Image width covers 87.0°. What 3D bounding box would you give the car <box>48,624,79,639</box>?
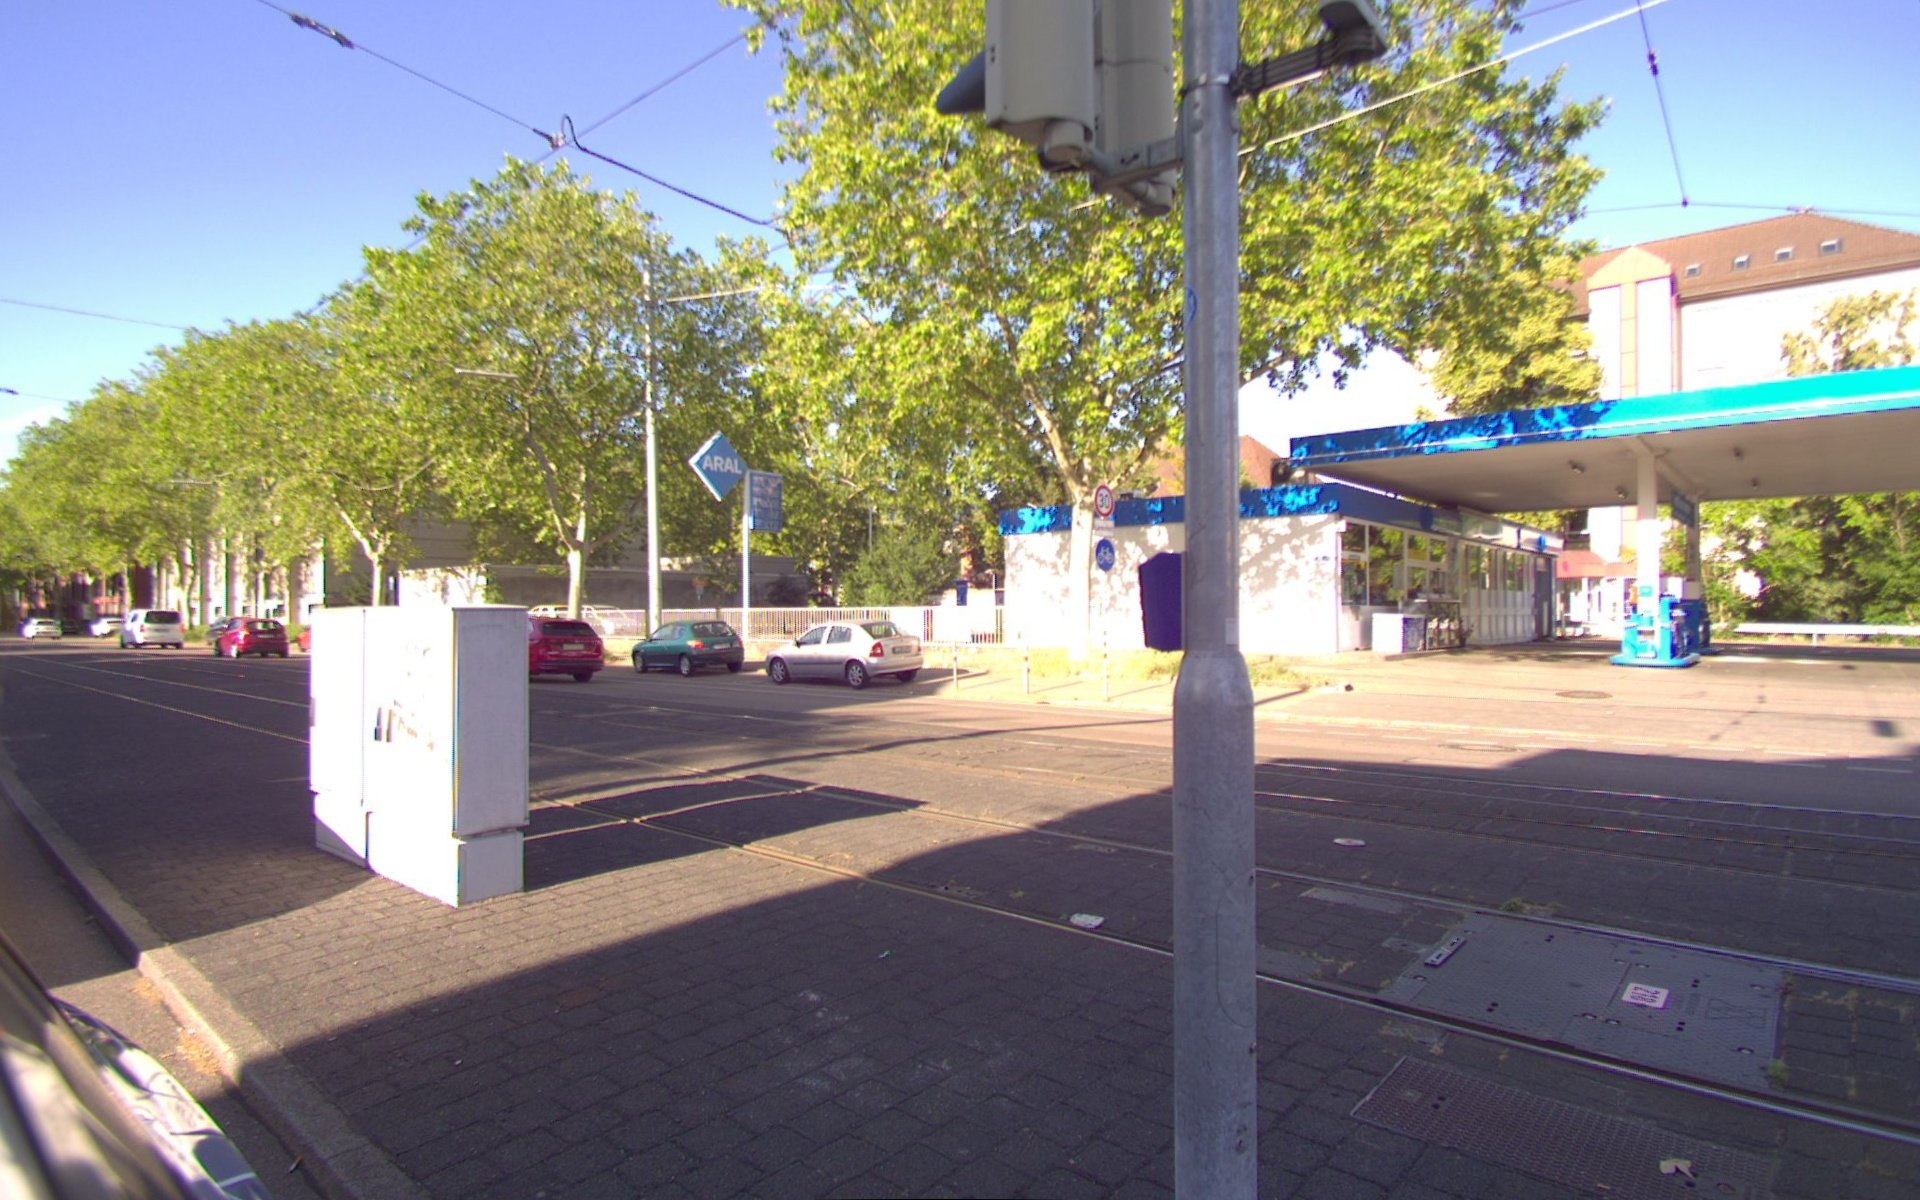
[{"bbox_3d":[-85.179,2.991,96.167,3.998,1.420,1.678,-1,-2,41],"label":"car"}]

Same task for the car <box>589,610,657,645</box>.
[{"bbox_3d":[-14.621,1.166,43.850,3.151,1.431,1.525,-1,0,44],"label":"car"}]

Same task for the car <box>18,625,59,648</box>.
[{"bbox_3d":[-66.578,2.621,73.085,3.998,1.507,1.741,-1,0,41],"label":"car"}]

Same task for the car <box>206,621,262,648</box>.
[{"bbox_3d":[-40.598,1.900,56.577,3.998,1.420,1.678,-1,-2,41],"label":"car"}]

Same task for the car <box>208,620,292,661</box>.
[{"bbox_3d":[-26.364,1.460,37.525,3.998,1.431,1.678,-1,-1,41],"label":"car"}]

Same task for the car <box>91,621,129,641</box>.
[{"bbox_3d":[-66.809,2.430,79.549,3.998,1.569,1.678,-1,-2,41],"label":"car"}]

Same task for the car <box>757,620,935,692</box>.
[{"bbox_3d":[-2.614,1.181,22.633,3.998,1.431,1.709,-1,0,41],"label":"car"}]

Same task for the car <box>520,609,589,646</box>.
[{"bbox_3d":[-16.854,1.106,41.996,3.151,1.431,1.525,-1,0,44],"label":"car"}]

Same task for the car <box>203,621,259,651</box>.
[{"bbox_3d":[-40.733,1.993,56.536,3.998,1.587,1.678,-1,-2,41],"label":"car"}]

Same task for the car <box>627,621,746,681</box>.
[{"bbox_3d":[-7.280,1.309,26.826,3.253,1.431,1.526,-1,0,41],"label":"car"}]

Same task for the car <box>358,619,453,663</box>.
[{"bbox_3d":[-22.068,1.587,40.221,4.431,1.534,1.731,-1,3,40],"label":"car"}]

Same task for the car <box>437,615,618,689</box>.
[{"bbox_3d":[-10.021,1.138,23.294,4.761,1.534,1.887,-1,-2,40],"label":"car"}]

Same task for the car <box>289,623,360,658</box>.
[{"bbox_3d":[-29.041,1.809,46.193,3.998,1.480,1.678,-1,-2,41],"label":"car"}]

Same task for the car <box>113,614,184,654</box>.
[{"bbox_3d":[-39.786,1.621,49.597,4.390,1.860,1.827,-1,-2,39],"label":"car"}]
